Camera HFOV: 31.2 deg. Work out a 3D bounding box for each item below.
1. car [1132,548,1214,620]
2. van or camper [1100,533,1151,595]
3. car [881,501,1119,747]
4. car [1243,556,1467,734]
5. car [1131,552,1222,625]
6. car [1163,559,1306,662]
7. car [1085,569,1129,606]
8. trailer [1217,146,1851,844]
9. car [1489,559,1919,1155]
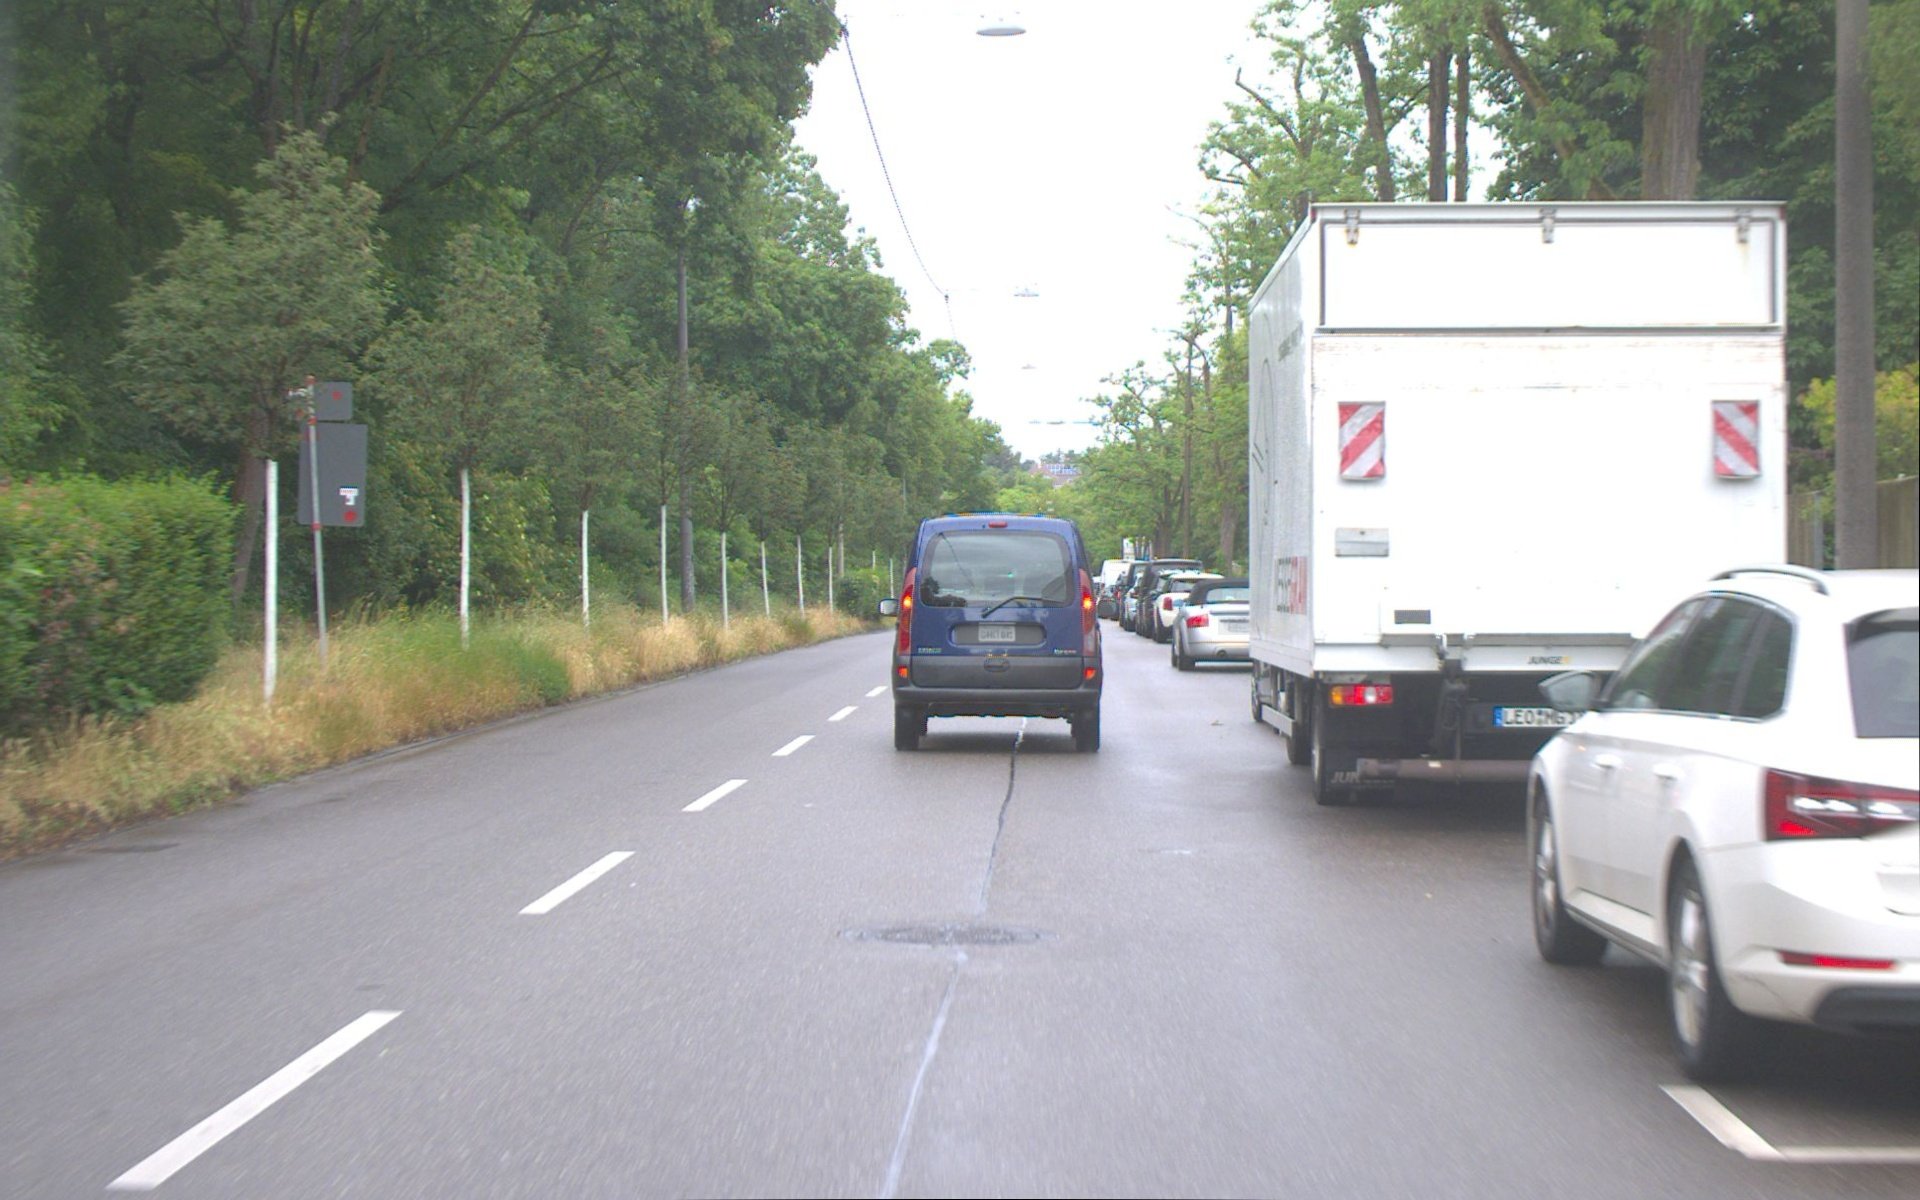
[{"bbox_3d":[4.727,-0.377,76.595,1.679,1.550,4.075,1,1,2],"label":"car"},{"bbox_3d":[7.237,-1.580,150.696,2.078,2.641,5.346,1,1,2],"label":"van or camper"},{"bbox_3d":[0.270,0.157,27.673,1.767,1.824,3.542,1,1,-1],"label":"car"},{"bbox_3d":[3.483,0.348,30.898,1.641,1.459,4.000,1,1,2],"label":"car"},{"bbox_3d":[4.488,-0.257,71.684,1.738,1.459,3.724,1,1,2],"label":"car"},{"bbox_3d":[3.936,0.127,49.817,1.782,1.390,4.000,1,1,1],"label":"car"},{"bbox_3d":[6.114,-0.527,142.971,1.626,1.459,3.807,1,1,5],"label":"car"},{"bbox_3d":[3.217,-0.599,21.572,2.734,3.496,8.247,1,1,1],"label":"trailer"},{"bbox_3d":[2.909,0.630,10.878,1.796,1.469,4.548,1,1,1],"label":"car"}]
